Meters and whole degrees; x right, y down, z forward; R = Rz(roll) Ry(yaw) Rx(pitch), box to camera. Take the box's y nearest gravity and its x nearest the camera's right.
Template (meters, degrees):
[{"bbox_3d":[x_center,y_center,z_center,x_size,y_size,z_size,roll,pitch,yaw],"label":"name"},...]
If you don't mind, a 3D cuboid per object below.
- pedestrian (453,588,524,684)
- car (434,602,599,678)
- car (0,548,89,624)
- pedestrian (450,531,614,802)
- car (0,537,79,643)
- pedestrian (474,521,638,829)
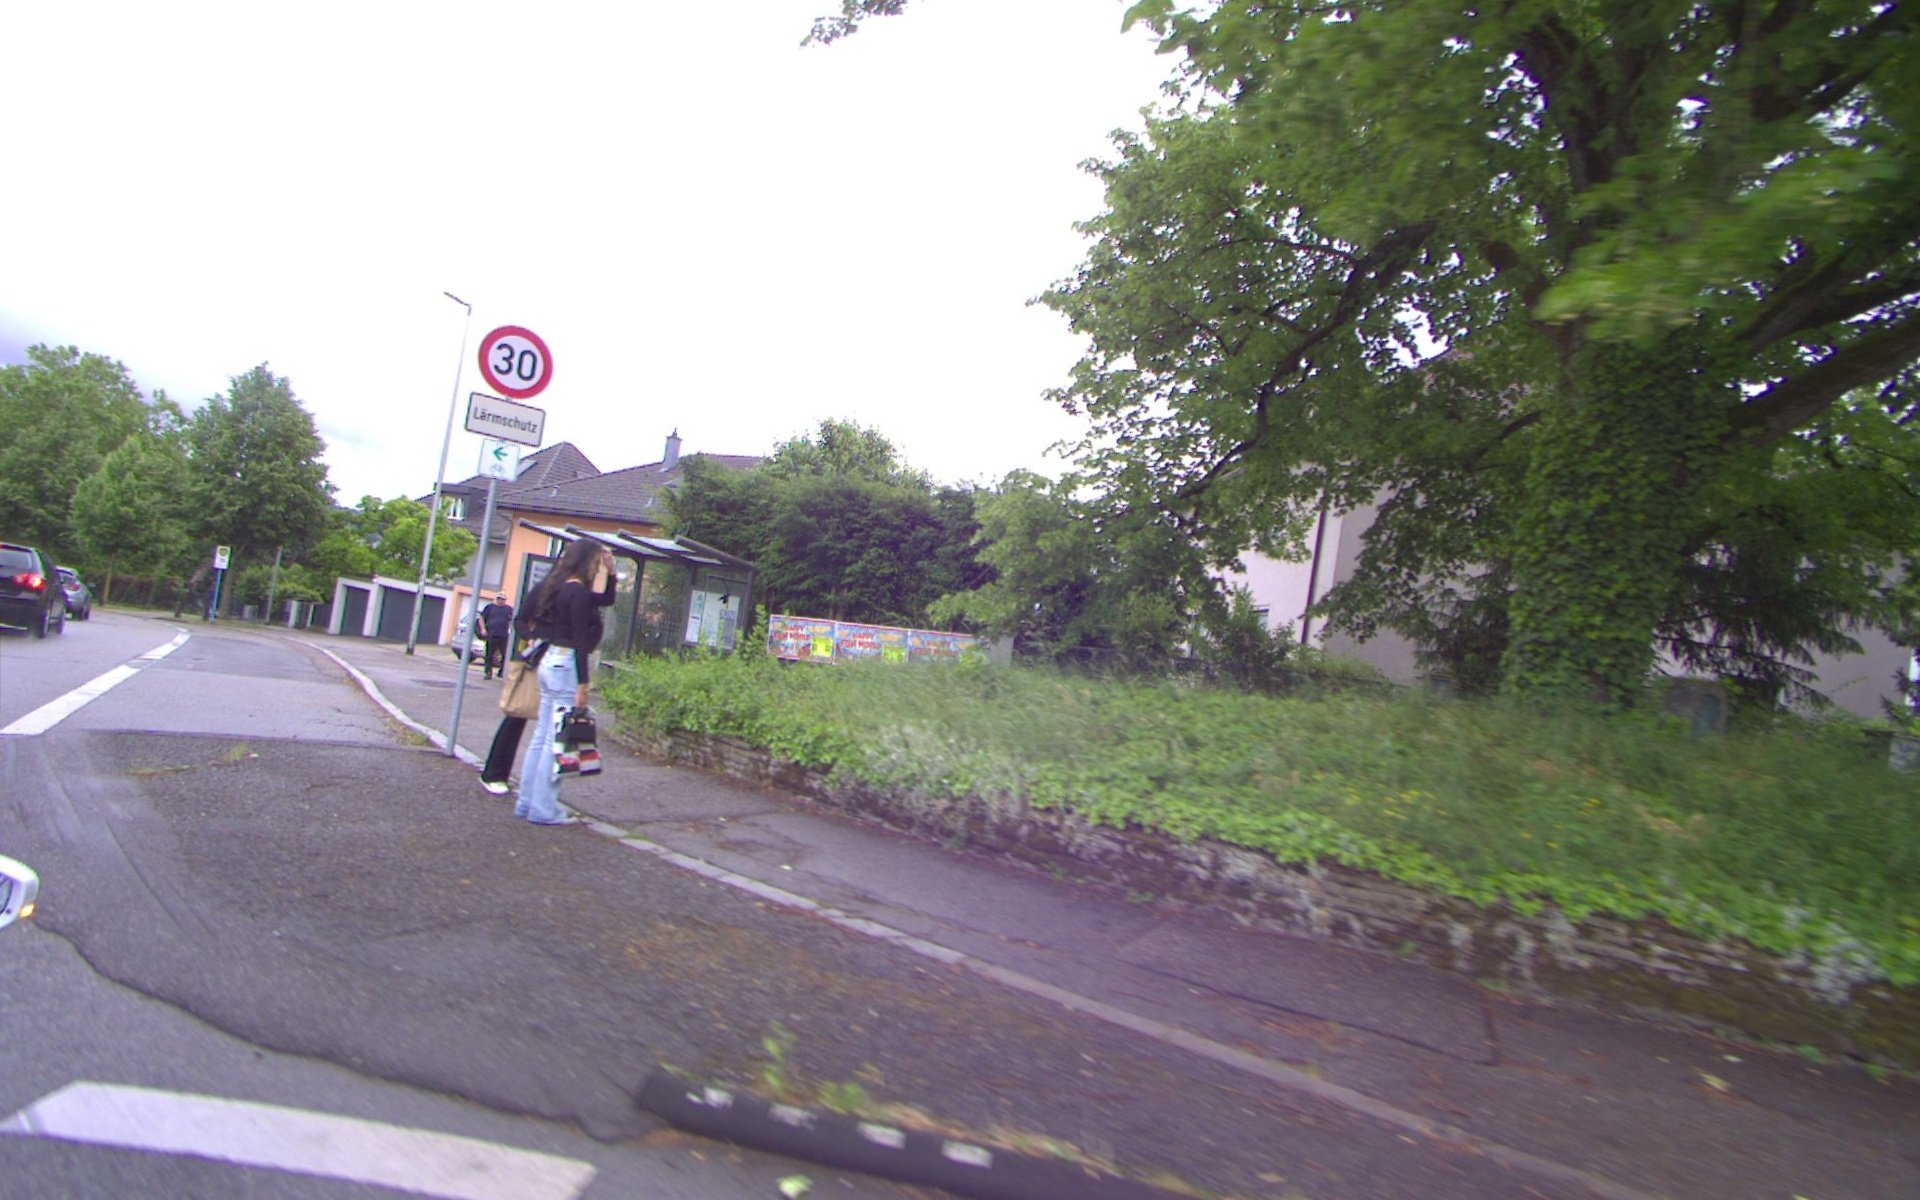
[{"bbox_3d":[-9.089,0.702,19.436,0.999,1.715,0.953,6,-3,-20],"label":"pedestrian"},{"bbox_3d":[-12.926,1.212,29.553,1.871,1.649,3.900,5,-5,32],"label":"car"},{"bbox_3d":[-26.076,-0.402,28.502,1.760,1.821,4.197,9,-5,-44],"label":"car"},{"bbox_3d":[-2.921,0.457,6.917,0.520,1.731,0.637,7,-3,17],"label":"pedestrian"},{"bbox_3d":[-16.355,-0.255,17.059,1.759,1.554,3.960,11,-6,-38],"label":"car"},{"bbox_3d":[-2.446,0.457,6.165,0.626,1.731,0.529,8,-3,-14],"label":"pedestrian"}]
